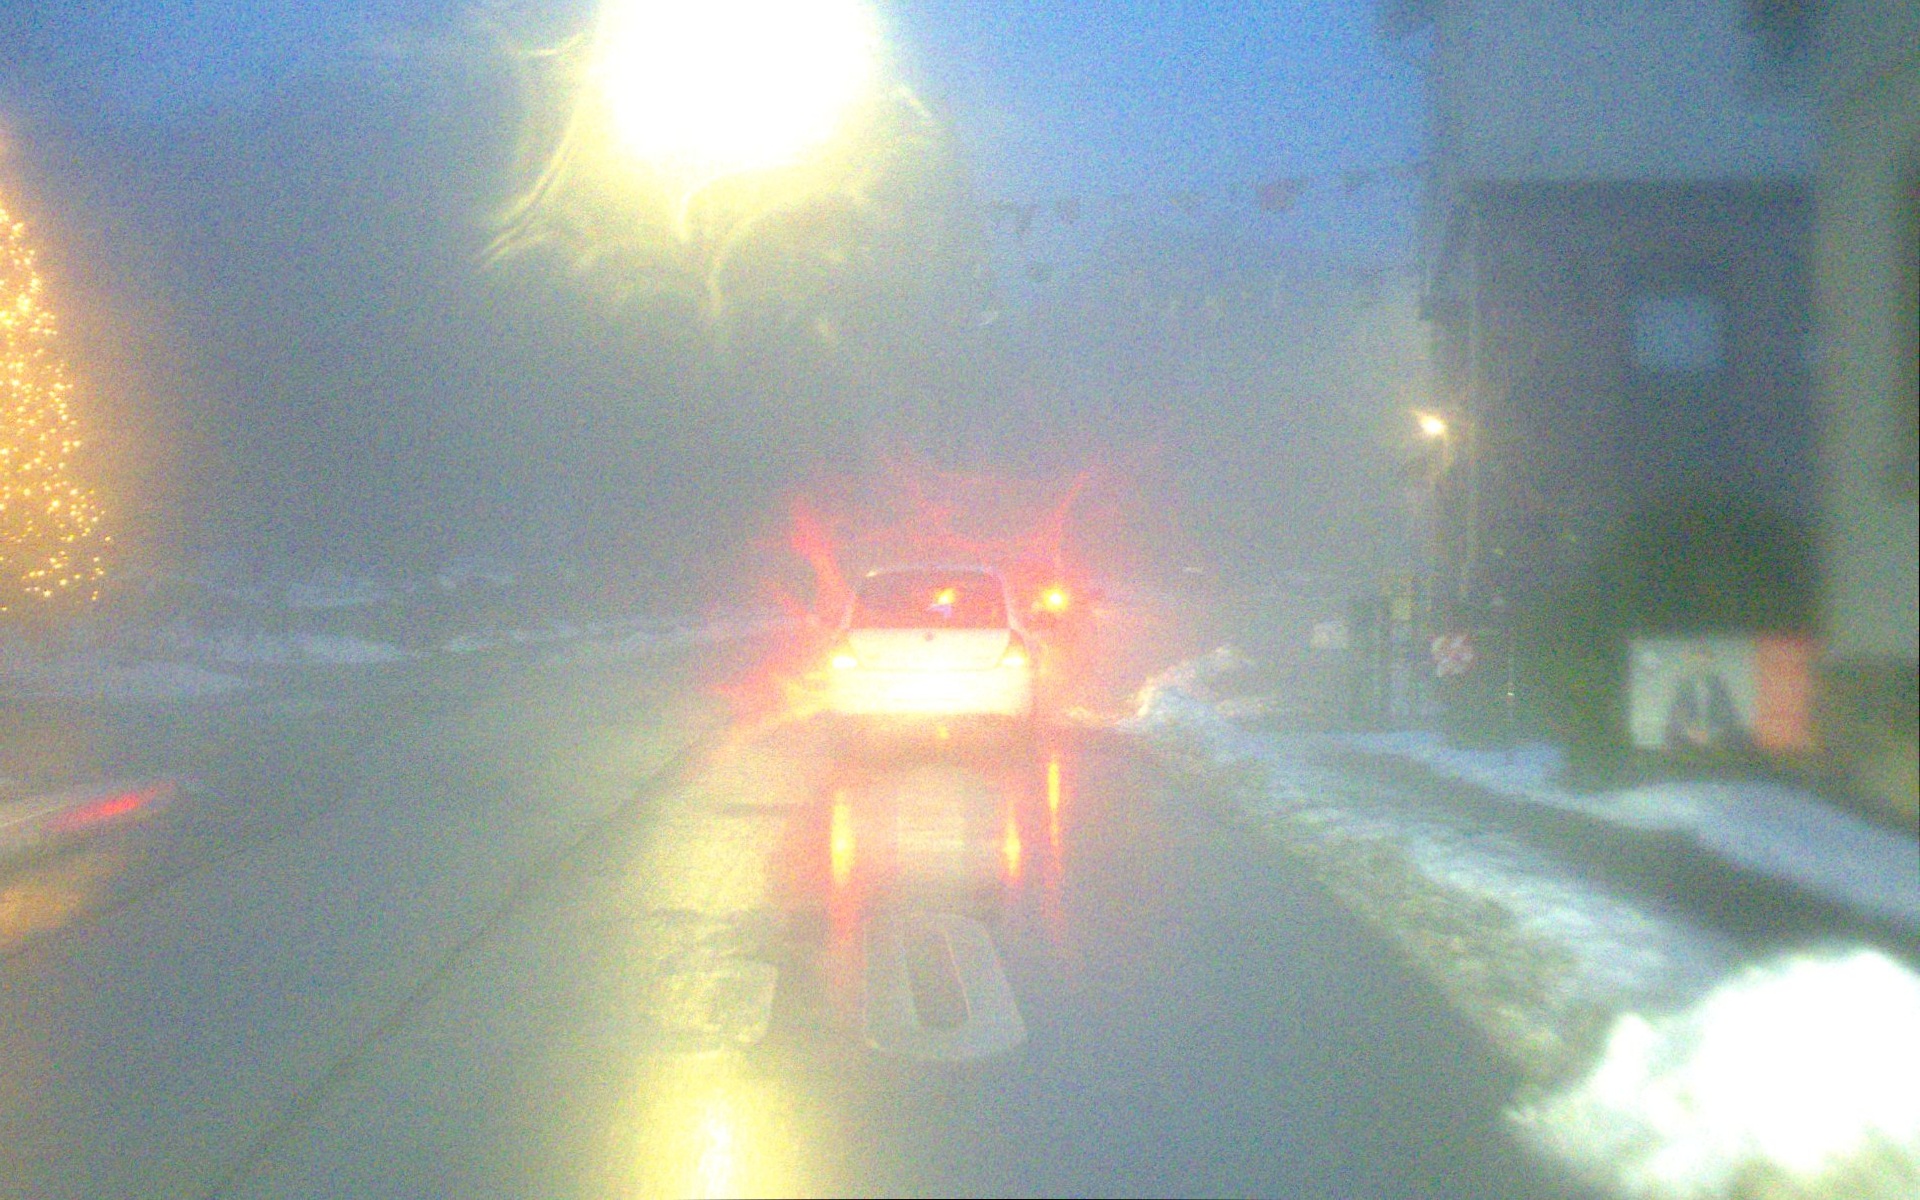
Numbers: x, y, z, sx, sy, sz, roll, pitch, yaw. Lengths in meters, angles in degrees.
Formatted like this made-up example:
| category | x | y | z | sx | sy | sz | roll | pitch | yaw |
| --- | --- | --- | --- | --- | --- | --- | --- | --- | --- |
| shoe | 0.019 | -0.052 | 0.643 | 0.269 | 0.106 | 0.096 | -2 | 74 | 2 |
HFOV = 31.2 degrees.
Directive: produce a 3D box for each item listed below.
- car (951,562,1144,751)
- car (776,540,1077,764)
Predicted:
| category | x | y | z | sx | sy | sz | roll | pitch | yaw |
| --- | --- | --- | --- | --- | --- | --- | --- | --- | --- |
| car | 1.100 | 0.708 | 40.977 | 1.994 | 2.007 | 3.999 | 4 | -2 | 4 |
| car | -0.181 | 0.450 | 27.157 | 1.994 | 1.503 | 3.999 | 4 | -2 | 4 |
